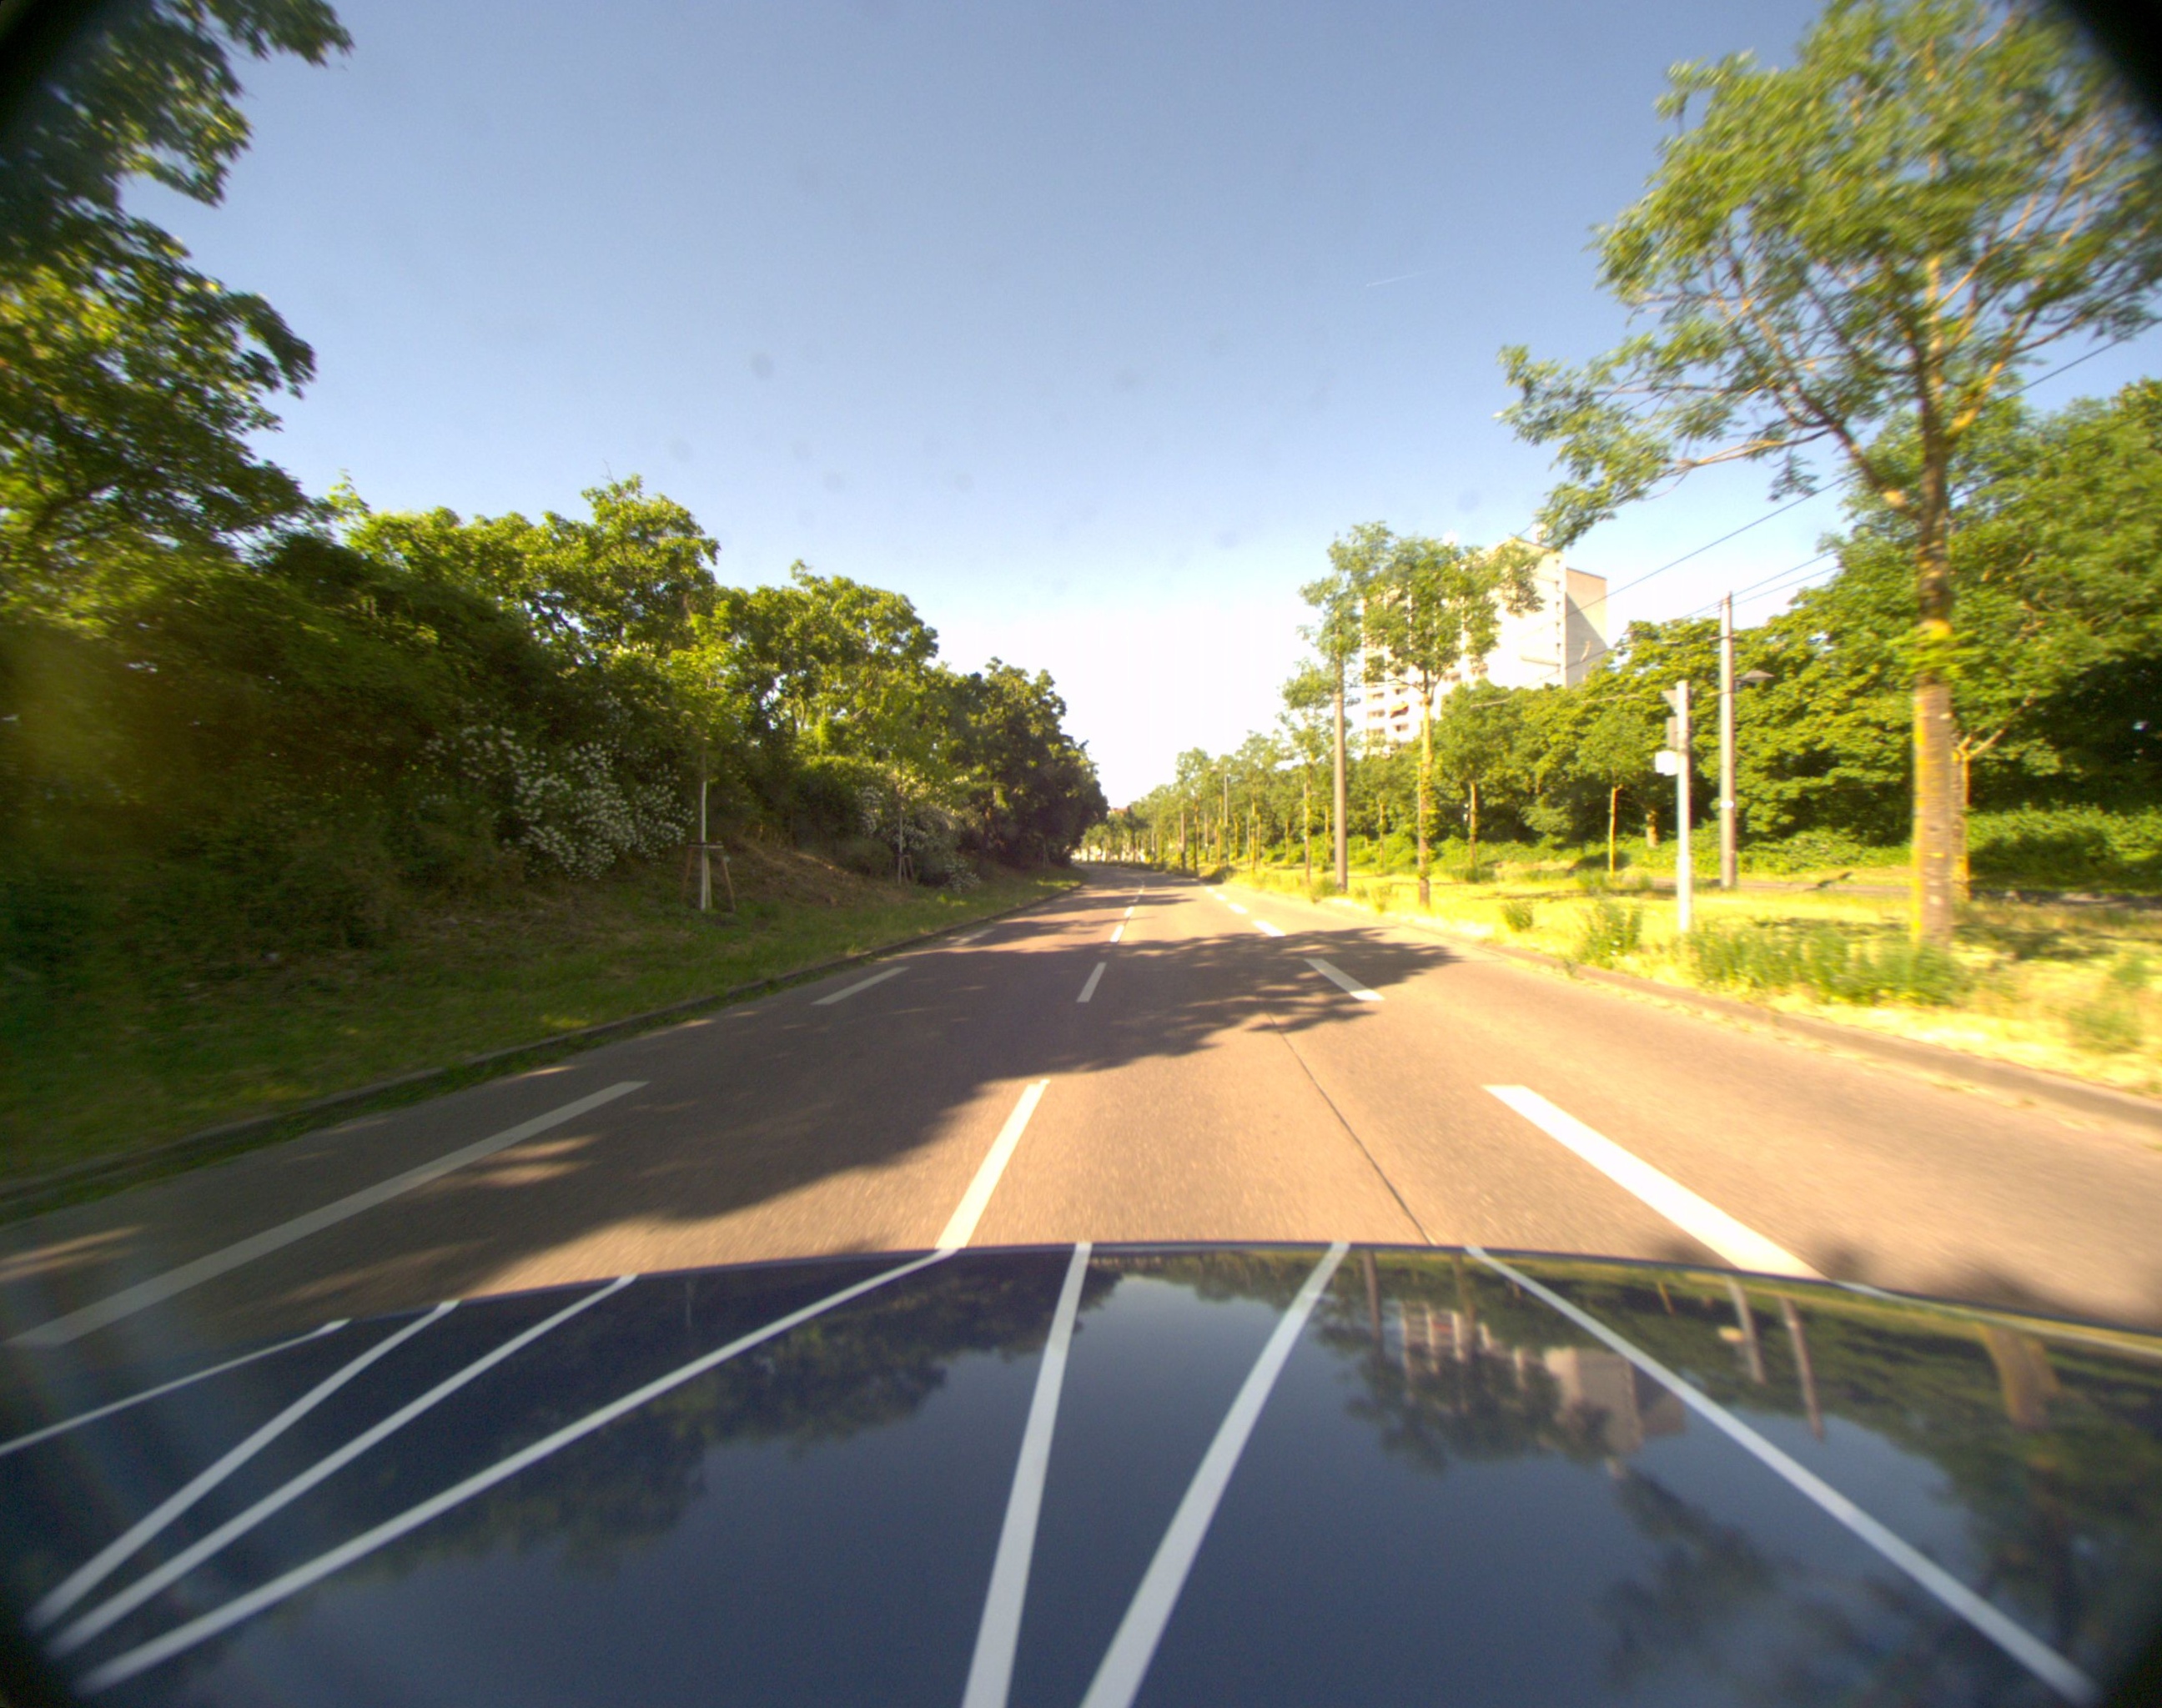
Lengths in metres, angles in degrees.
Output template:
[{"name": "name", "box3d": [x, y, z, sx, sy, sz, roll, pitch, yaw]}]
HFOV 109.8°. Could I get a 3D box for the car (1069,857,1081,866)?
[{"name": "car", "box3d": [-1.103, 1.442, 144.395, 1.672, 1.531, 4.062, -4, 0, 6]}]
